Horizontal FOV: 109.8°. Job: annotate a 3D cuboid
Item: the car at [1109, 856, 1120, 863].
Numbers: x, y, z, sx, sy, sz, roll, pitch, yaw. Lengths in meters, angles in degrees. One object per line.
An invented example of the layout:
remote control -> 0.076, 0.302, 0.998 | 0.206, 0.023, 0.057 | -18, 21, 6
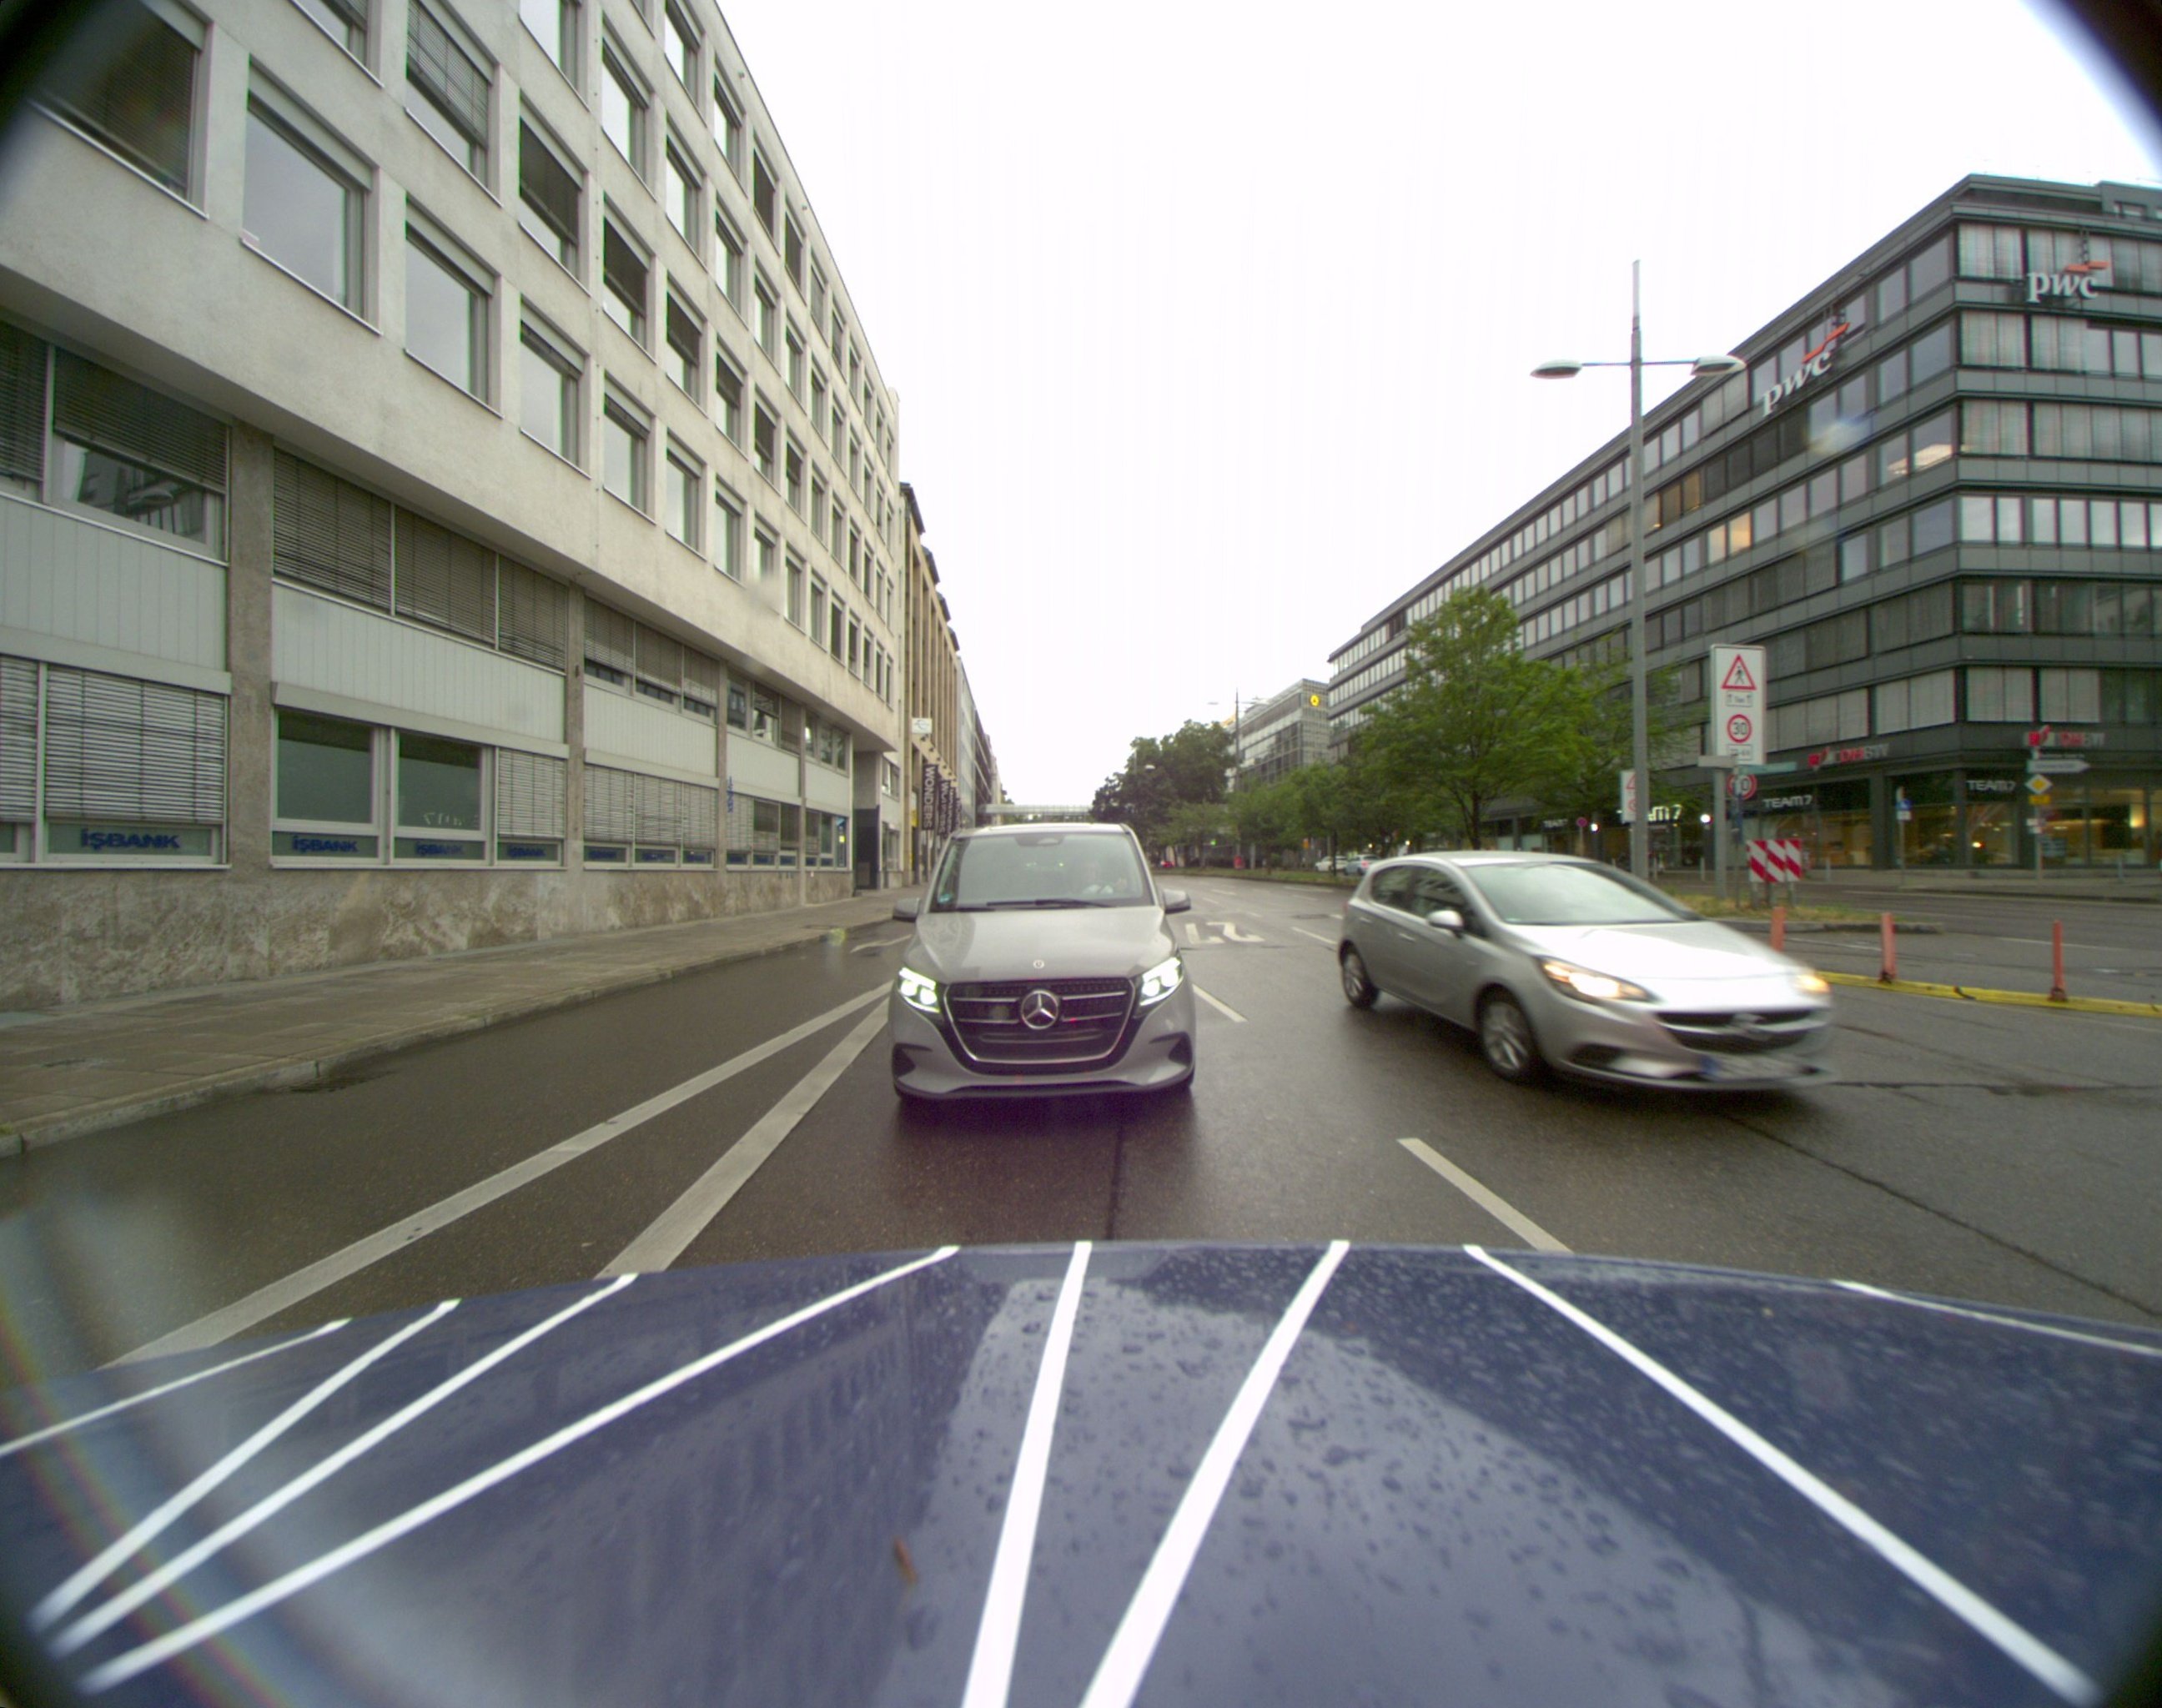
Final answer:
car -> 6.753, 1.125, 153.273 | 1.687, 1.423, 4.081 | -1, 0, -5

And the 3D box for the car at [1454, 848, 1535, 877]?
car -> 24.021, 0.461, 44.385 | 1.814, 1.477, 4.771 | -4, 0, -4

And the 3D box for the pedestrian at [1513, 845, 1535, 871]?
pedestrian -> 28.651, 0.277, 49.144 | 0.786, 1.628, 0.965 | -1, 0, -4

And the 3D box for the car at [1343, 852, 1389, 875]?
car -> 20.271, 0.681, 54.168 | 1.788, 1.564, 3.690 | -1, 0, -3

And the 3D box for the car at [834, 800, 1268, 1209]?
car -> -0.287, 0.764, 6.397 | 2.163, 2.014, 5.040 | -1, 0, -4

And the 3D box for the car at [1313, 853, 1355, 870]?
car -> 22.296, 0.651, 67.001 | 1.814, 1.436, 4.307 | -2, 0, -7

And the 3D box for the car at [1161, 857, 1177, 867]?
car -> 13.579, 1.238, 117.556 | 1.999, 1.535, 4.482 | -1, 0, -1

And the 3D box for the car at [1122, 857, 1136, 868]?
car -> 8.902, 1.571, 142.515 | 1.742, 1.717, 4.491 | 7, -1, -5

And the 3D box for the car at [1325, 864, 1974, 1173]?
car -> 3.470, 0.836, 5.709 | 1.853, 1.434, 3.869 | -1, 0, -3

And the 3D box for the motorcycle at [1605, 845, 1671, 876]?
motorcycle -> 26.978, 0.314, 36.840 | 0.861, 1.386, 2.364 | -5, 2, -30
